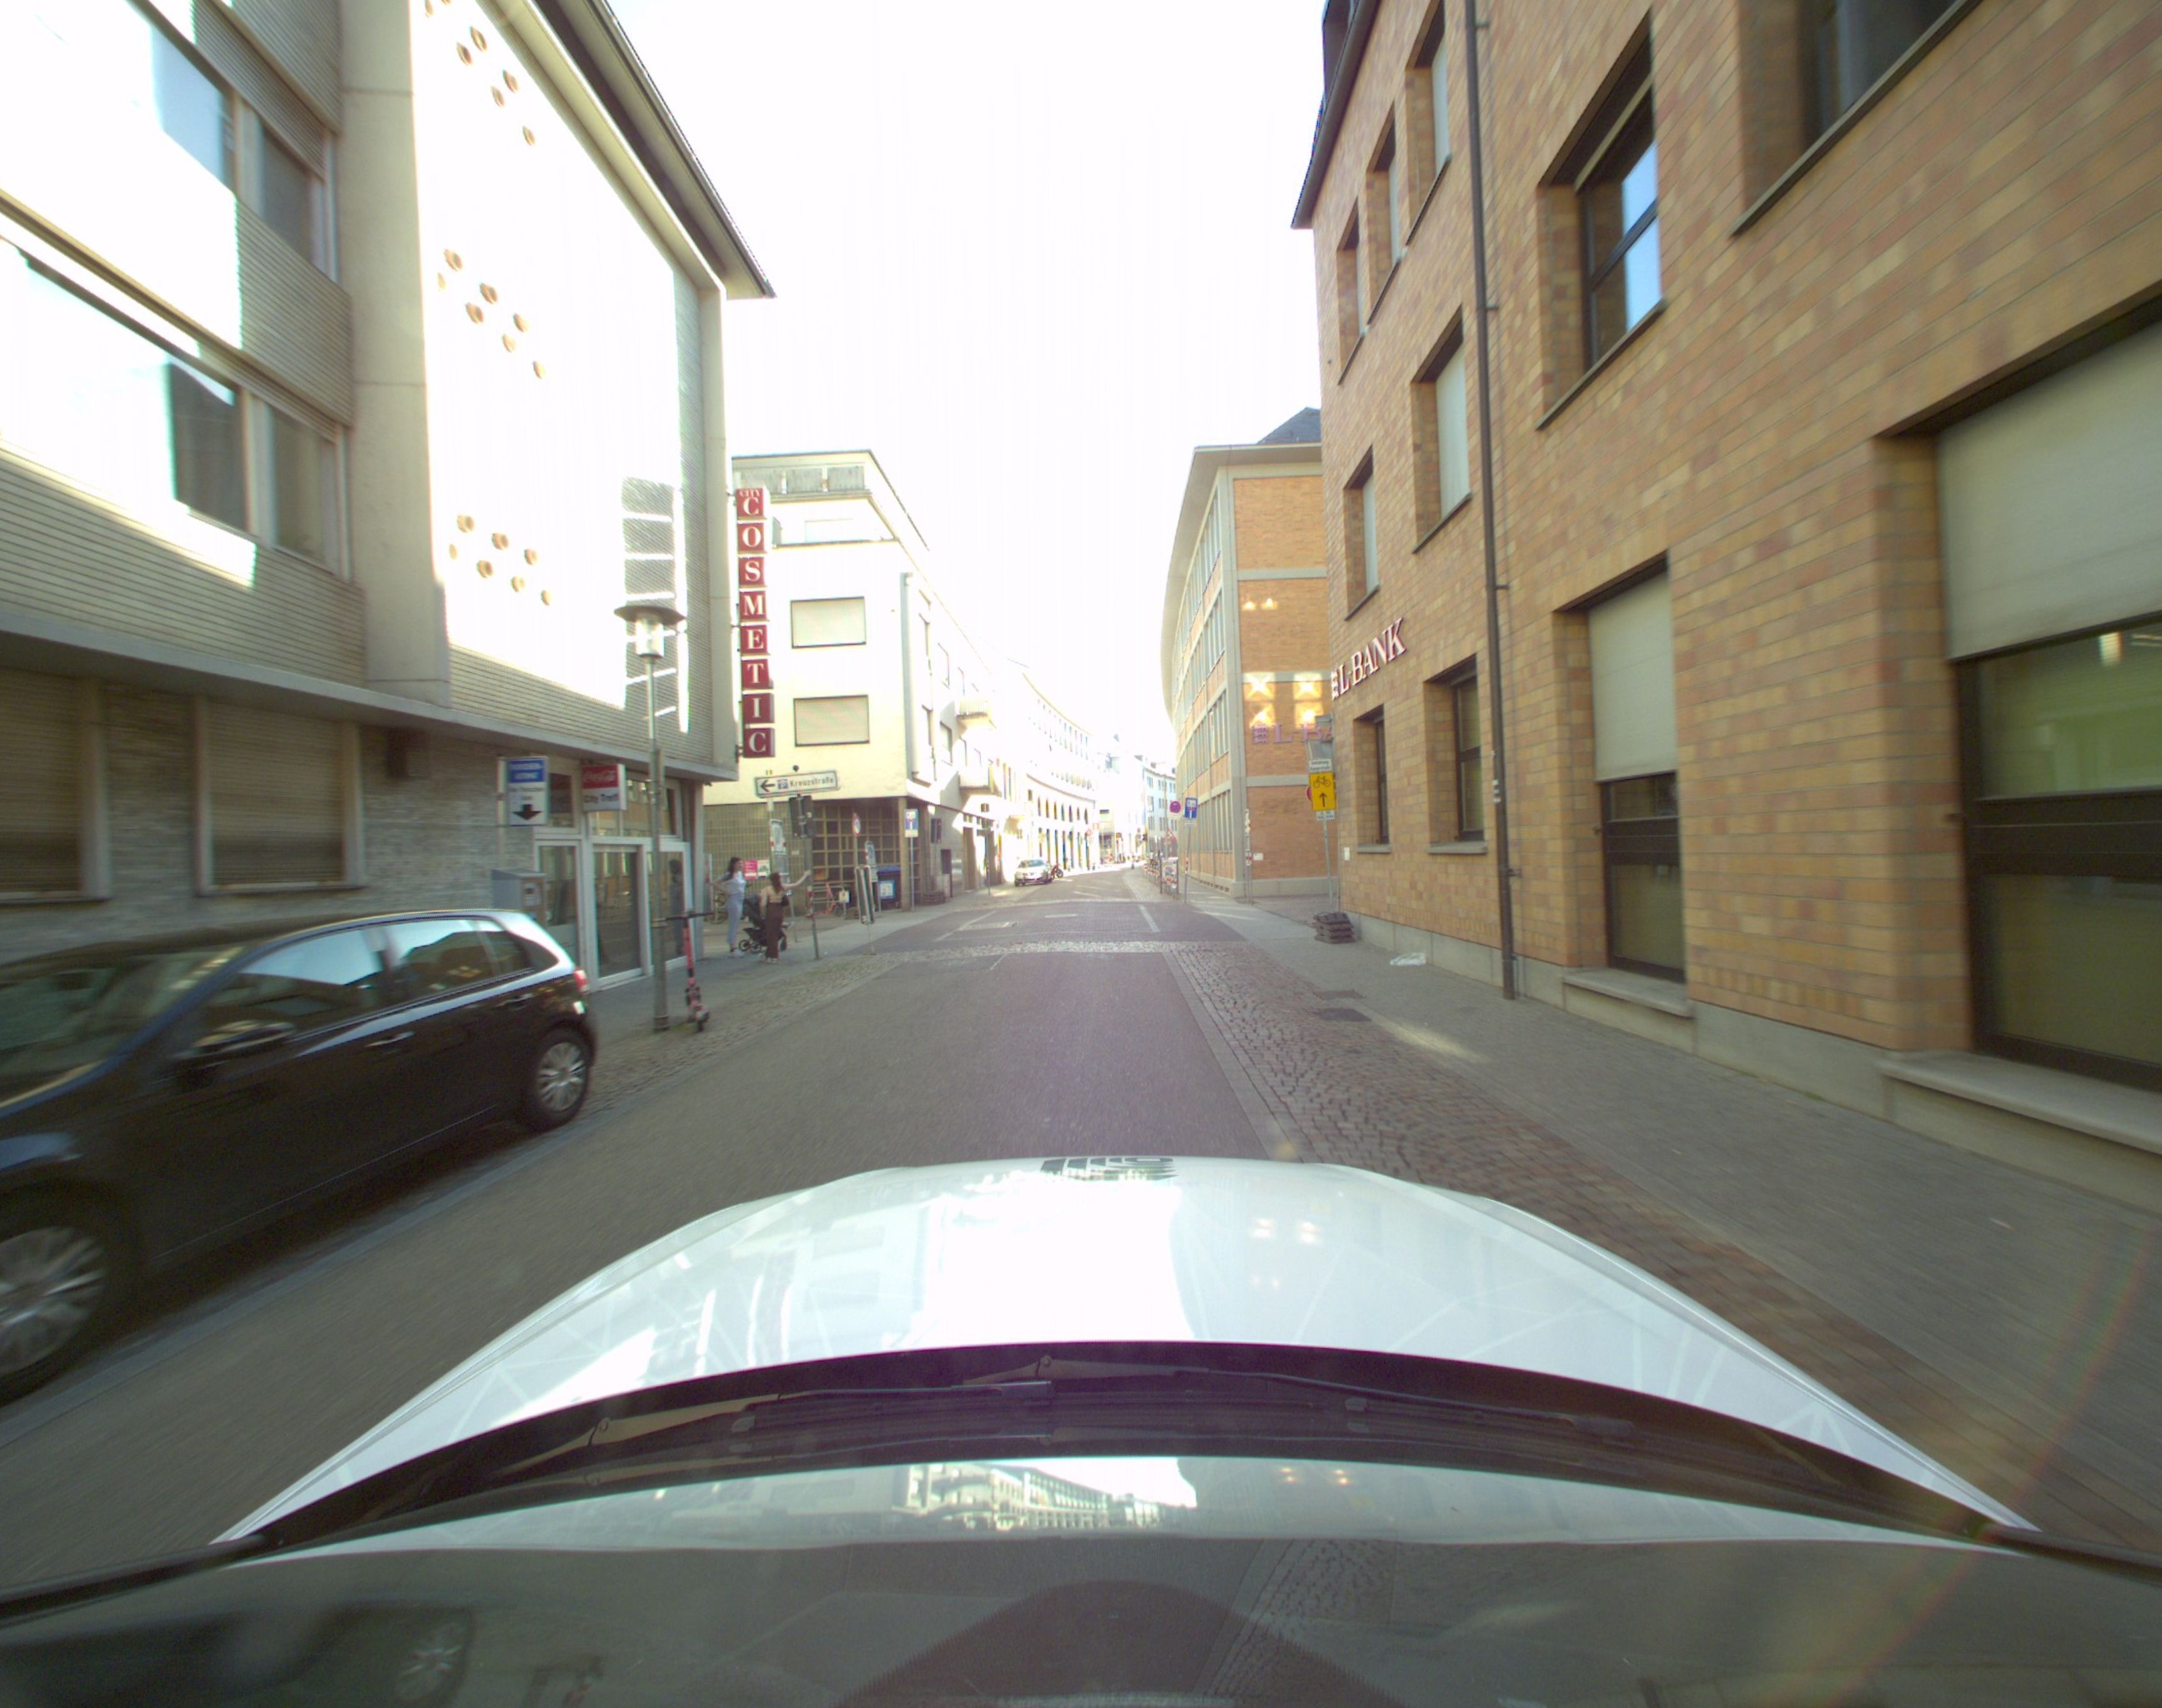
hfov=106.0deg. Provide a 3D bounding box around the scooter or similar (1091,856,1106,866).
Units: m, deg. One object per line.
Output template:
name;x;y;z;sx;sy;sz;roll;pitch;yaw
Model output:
scooter or similar;1.905;0.734;86.889;0.520;0.928;2.242;-1;0;32

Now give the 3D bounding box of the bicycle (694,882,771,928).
bicycle;-10.076;1.469;23.596;1.863;1.158;0.718;-3;0;3

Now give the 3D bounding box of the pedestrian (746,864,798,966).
pedestrian;-5.170;0.997;13.621;0.650;1.625;0.452;-2;0;-40

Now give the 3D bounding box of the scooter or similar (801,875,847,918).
scooter or similar;-7.731;1.283;24.480;1.153;1.207;0.480;-3;0;1

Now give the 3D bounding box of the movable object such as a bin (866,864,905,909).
movable object such as a bin;-6.458;1.055;26.886;0.873;1.420;0.939;-1;-1;45

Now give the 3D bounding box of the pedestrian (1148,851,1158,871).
pedestrian;6.821;0.682;77.343;0.663;1.869;0.779;0;-1;-29

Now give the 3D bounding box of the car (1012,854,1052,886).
car;-2.611;0.821;43.831;1.730;1.606;3.535;-1;0;2

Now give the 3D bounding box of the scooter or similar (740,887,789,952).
scooter or similar;-5.962;1.208;15.339;0.794;1.161;0.629;0;-1;-28

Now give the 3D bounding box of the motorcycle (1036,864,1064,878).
motorcycle;-1.930;1.083;51.374;1.682;0.859;0.595;-1;-1;6

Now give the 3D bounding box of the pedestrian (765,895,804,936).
pedestrian;-5.634;1.161;15.477;0.586;0.715;0.641;-2;0;-28

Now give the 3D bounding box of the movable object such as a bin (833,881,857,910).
movable object such as a bin;-7.627;1.328;26.298;0.519;0.902;0.540;-1;-1;45

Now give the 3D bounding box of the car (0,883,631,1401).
car;-4.126;1.004;3.769;1.642;1.460;4.001;-5;0;2

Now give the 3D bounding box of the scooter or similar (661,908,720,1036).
scooter or similar;-4.128;1.199;8.589;0.415;1.198;1.111;-7;0;-27

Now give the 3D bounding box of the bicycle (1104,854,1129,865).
bicycle;4.564;0.666;104.302;3.066;1.354;0.704;-1;-1;14

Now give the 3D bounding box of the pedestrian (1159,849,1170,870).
pedestrian;7.387;0.501;71.793;0.663;1.869;0.754;0;-1;-29

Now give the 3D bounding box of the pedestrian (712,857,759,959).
pedestrian;-6.080;0.936;14.336;0.443;1.738;0.556;-2;0;24

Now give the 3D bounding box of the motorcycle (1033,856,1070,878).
motorcycle;-1.977;0.872;55.166;2.382;1.317;0.862;-3;0;1

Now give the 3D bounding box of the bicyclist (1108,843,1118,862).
bicyclist;4.117;-0.168;104.366;1.082;2.389;0.744;-1;-1;15

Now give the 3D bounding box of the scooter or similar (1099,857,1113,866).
scooter or similar;2.745;0.864;90.311;0.520;0.928;2.242;-1;0;32
